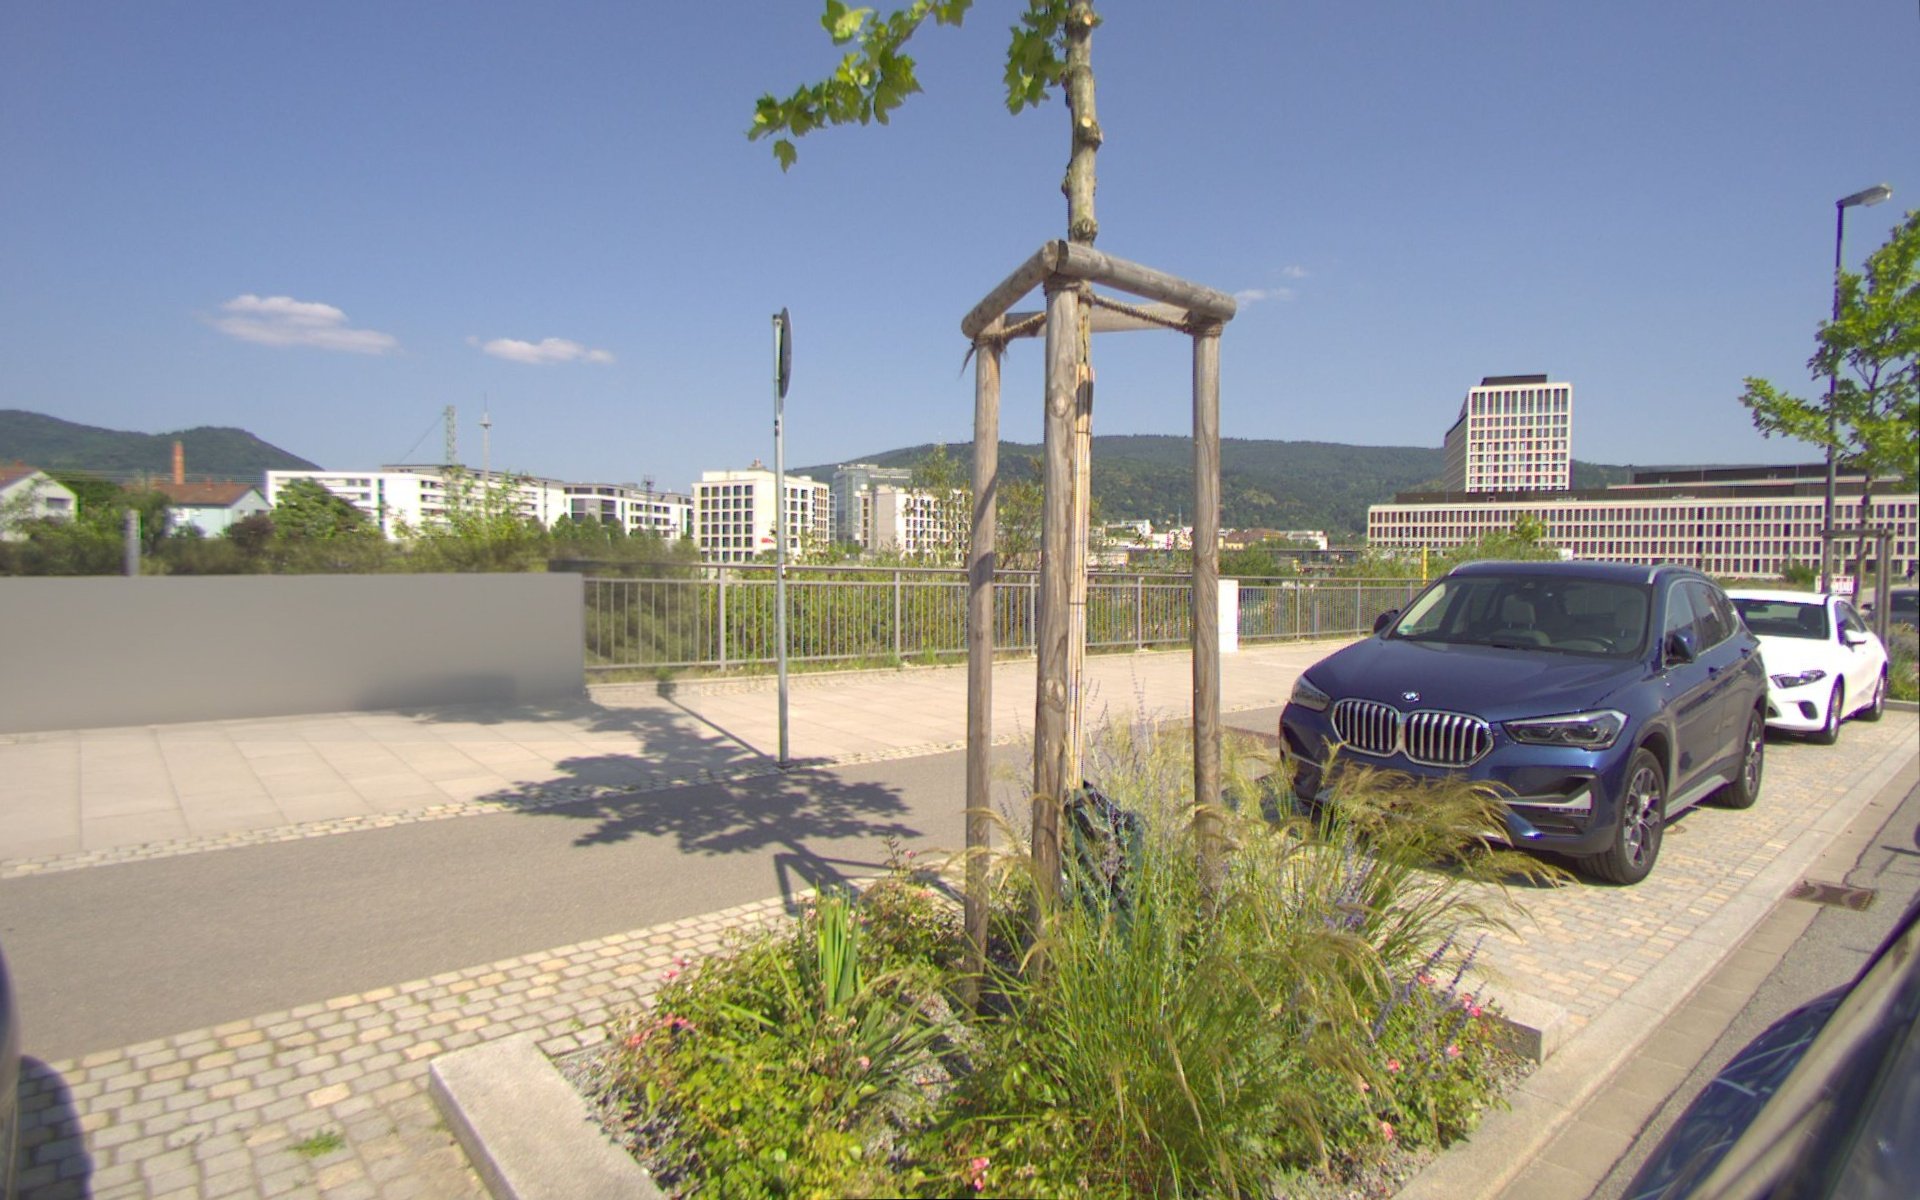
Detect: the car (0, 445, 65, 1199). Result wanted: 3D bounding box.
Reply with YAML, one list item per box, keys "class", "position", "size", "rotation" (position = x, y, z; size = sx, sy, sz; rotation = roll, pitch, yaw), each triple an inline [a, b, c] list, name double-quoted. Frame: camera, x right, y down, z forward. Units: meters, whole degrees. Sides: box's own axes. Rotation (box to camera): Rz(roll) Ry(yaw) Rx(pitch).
- class: "car"
  position: [-2.982, 0.539, 0.384]
  size: [3.931, 1.444, 1.663]
  rotation: [-1, 3, -42]

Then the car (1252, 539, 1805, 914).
- class: "car"
  position: [3.798, 0.524, 6.430]
  size: [4.164, 1.627, 1.768]
  rotation: [-1, 0, -41]

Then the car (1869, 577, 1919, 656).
- class: "car"
  position: [20.366, 0.302, 21.073]
  size: [3.930, 1.558, 1.663]
  rotation: [-1, 0, -41]

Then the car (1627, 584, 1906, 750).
- class: "car"
  position: [8.774, 0.574, 10.898]
  size: [3.930, 1.473, 1.663]
  rotation: [-1, 0, -41]
